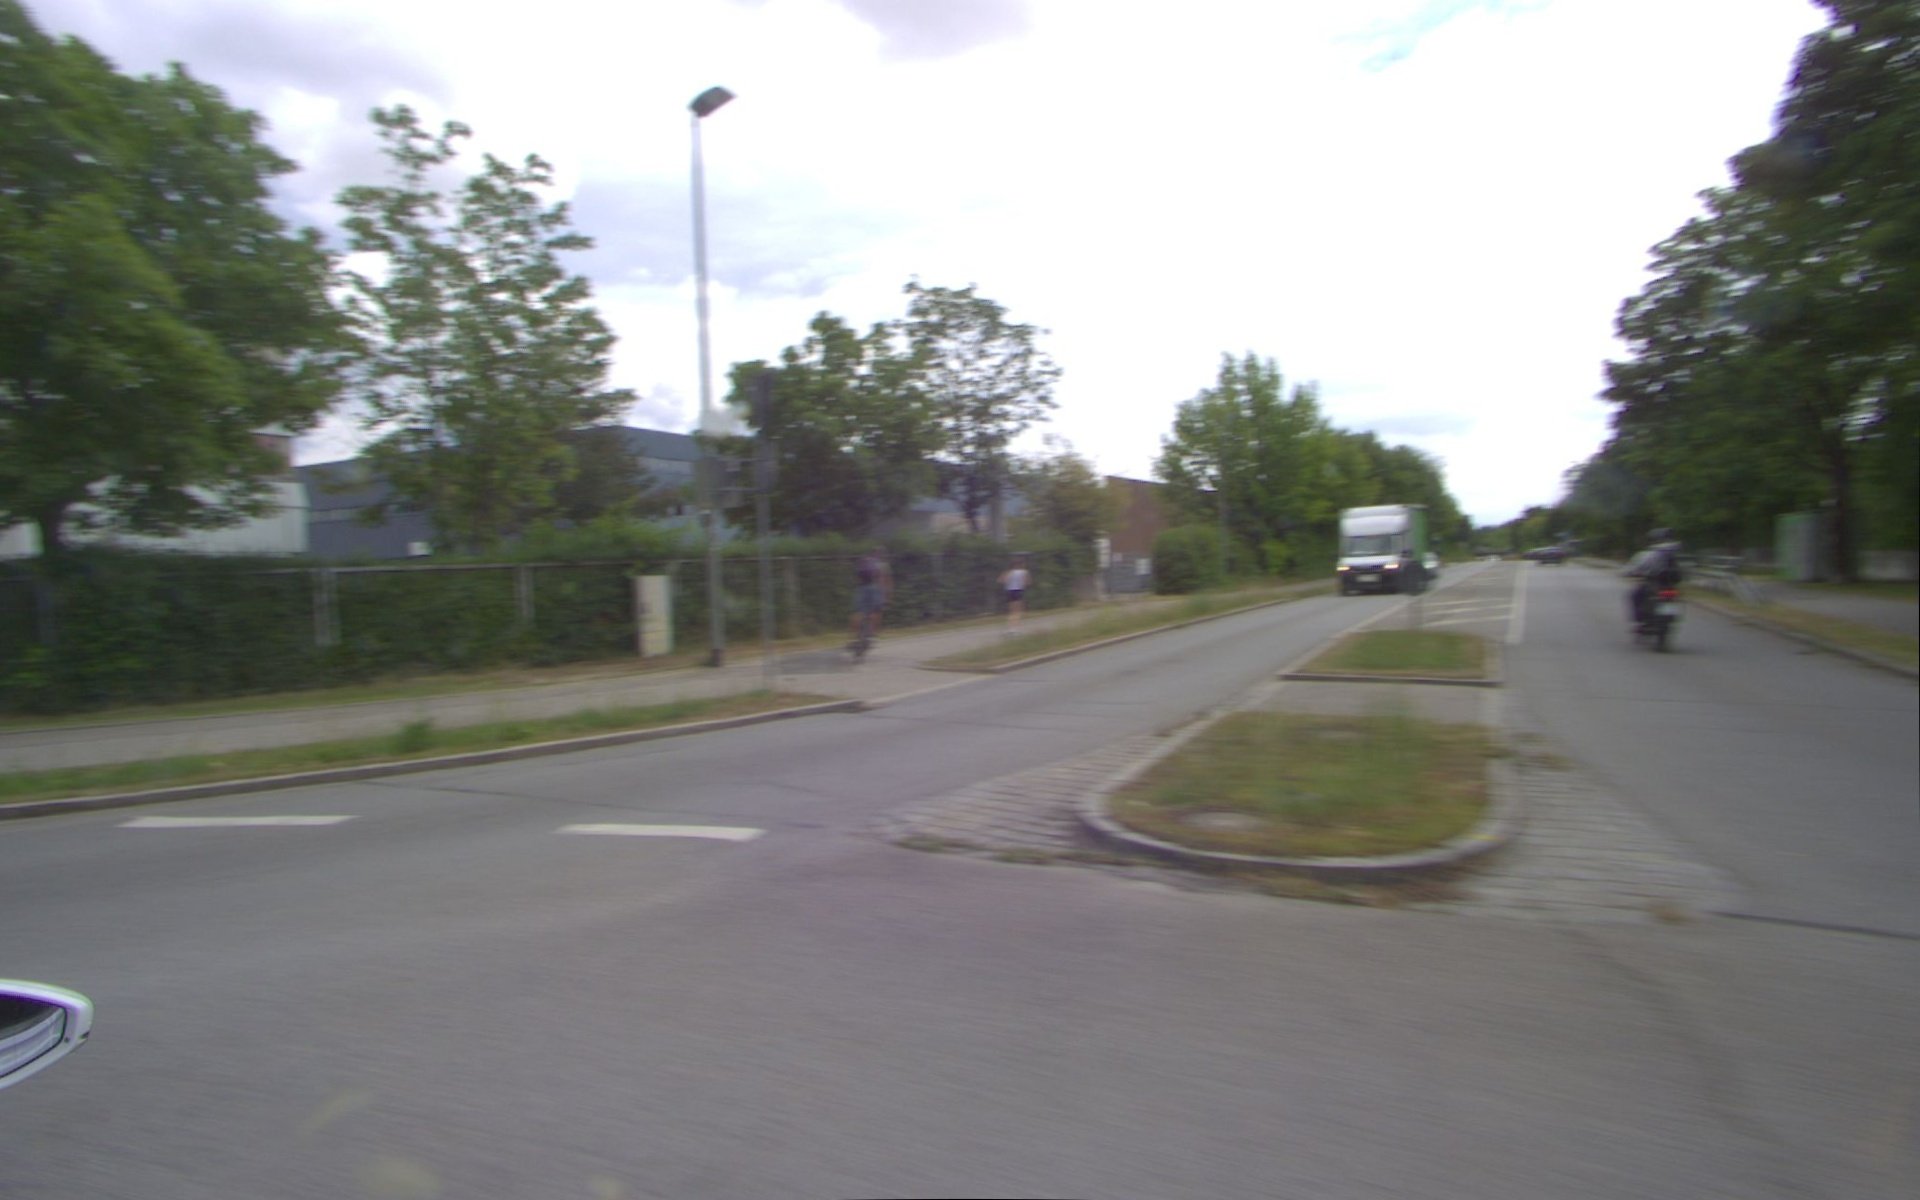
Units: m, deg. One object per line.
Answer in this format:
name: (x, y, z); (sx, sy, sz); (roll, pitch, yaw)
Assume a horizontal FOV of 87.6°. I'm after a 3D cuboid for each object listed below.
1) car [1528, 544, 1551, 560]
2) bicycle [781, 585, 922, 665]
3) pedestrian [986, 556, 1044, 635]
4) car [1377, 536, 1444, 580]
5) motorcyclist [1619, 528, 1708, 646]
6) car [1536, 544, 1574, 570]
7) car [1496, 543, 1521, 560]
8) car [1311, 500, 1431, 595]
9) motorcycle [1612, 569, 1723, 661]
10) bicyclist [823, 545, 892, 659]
car: (76.098, -6.326, 131.547); (2.485, 1.974, 5.678); (0, 3, 31)
bicycle: (-1.792, 0.359, 16.188); (2.475, 1.104, 0.765); (3, 5, 40)
pedestrian: (1.145, -0.113, 20.696); (0.776, 1.566, 1.039); (1, 4, 30)
car: (24.267, -2.284, 53.797); (2.648, 2.204, 5.966); (0, 3, 30)
motorcyclist: (10.307, -0.205, 14.718); (0.850, 1.646, 1.185); (0, 4, 26)
car: (48.213, -3.531, 81.218); (2.483, 1.974, 5.681); (0, 3, 29)
car: (68.410, -6.061, 124.875); (2.485, 1.974, 5.678); (0, 3, 31)
car: (15.963, -2.006, 38.517); (3.135, 3.249, 7.589); (0, 3, 31)
motorcycle: (10.298, 0.167, 14.689); (0.885, 1.174, 2.609); (0, 3, 26)
bicyclist: (-1.649, 0.007, 16.052); (0.907, 1.747, 0.654); (4, 5, 39)
